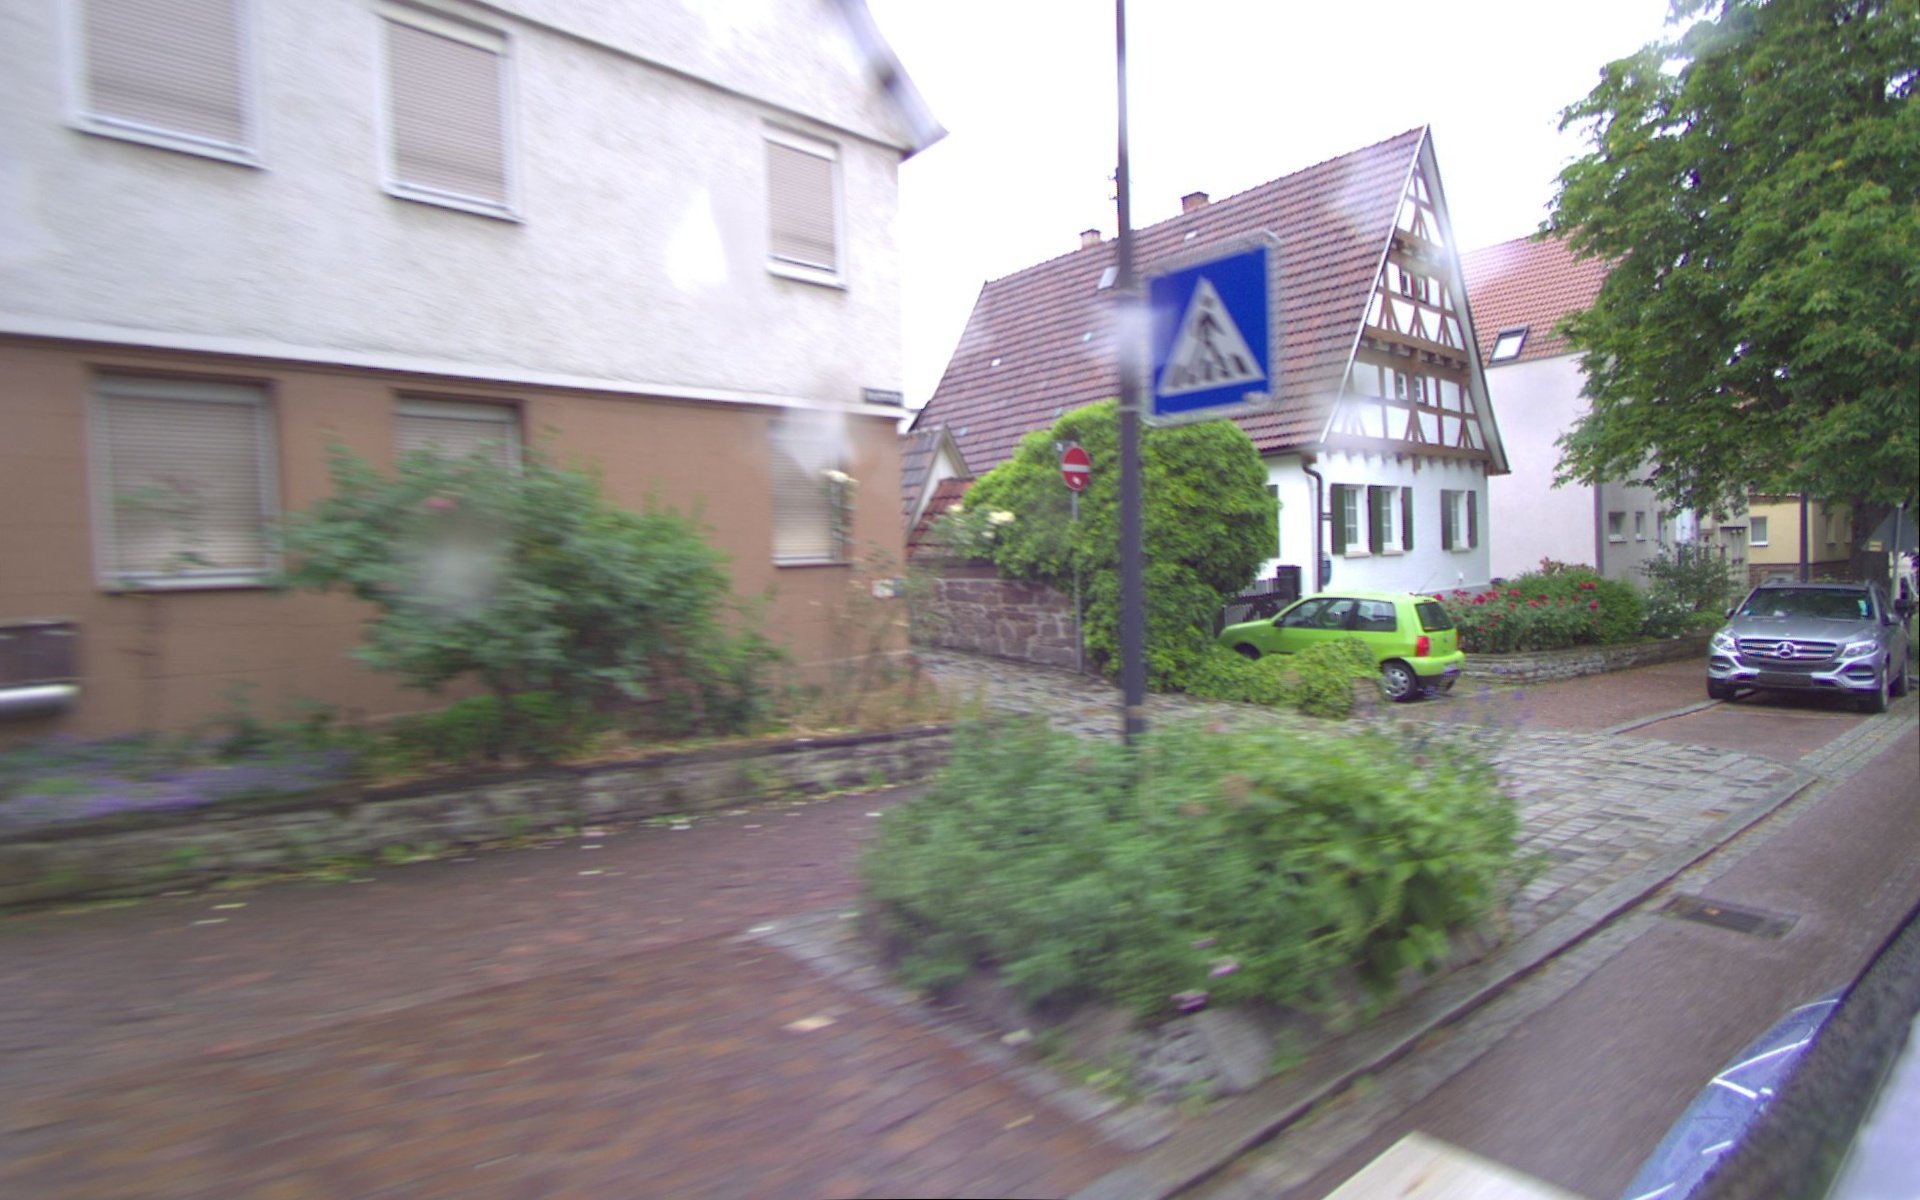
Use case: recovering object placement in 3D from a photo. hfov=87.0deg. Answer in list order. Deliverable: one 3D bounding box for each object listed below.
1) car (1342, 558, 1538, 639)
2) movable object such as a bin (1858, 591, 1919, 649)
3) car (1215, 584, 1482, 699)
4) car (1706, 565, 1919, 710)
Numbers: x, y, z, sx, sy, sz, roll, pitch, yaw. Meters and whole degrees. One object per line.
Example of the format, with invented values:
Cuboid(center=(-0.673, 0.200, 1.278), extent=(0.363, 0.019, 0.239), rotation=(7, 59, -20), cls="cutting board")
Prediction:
Cuboid(center=(13.397, 0.003, 28.454), extent=(1.966, 1.924, 4.465), rotation=(-2, -3, -41), cls="car")
Cuboid(center=(22.723, 0.466, 24.563), extent=(1.113, 1.332, 1.228), rotation=(-1, 1, -38), cls="movable object such as a bin")
Cuboid(center=(5.712, 0.523, 15.124), extent=(1.604, 1.448, 3.368), rotation=(-1, 2, -44), cls="car")
Cuboid(center=(12.672, 0.444, 14.856), extent=(4.411, 1.815, 1.917), rotation=(-1, 0, -42), cls="car")
